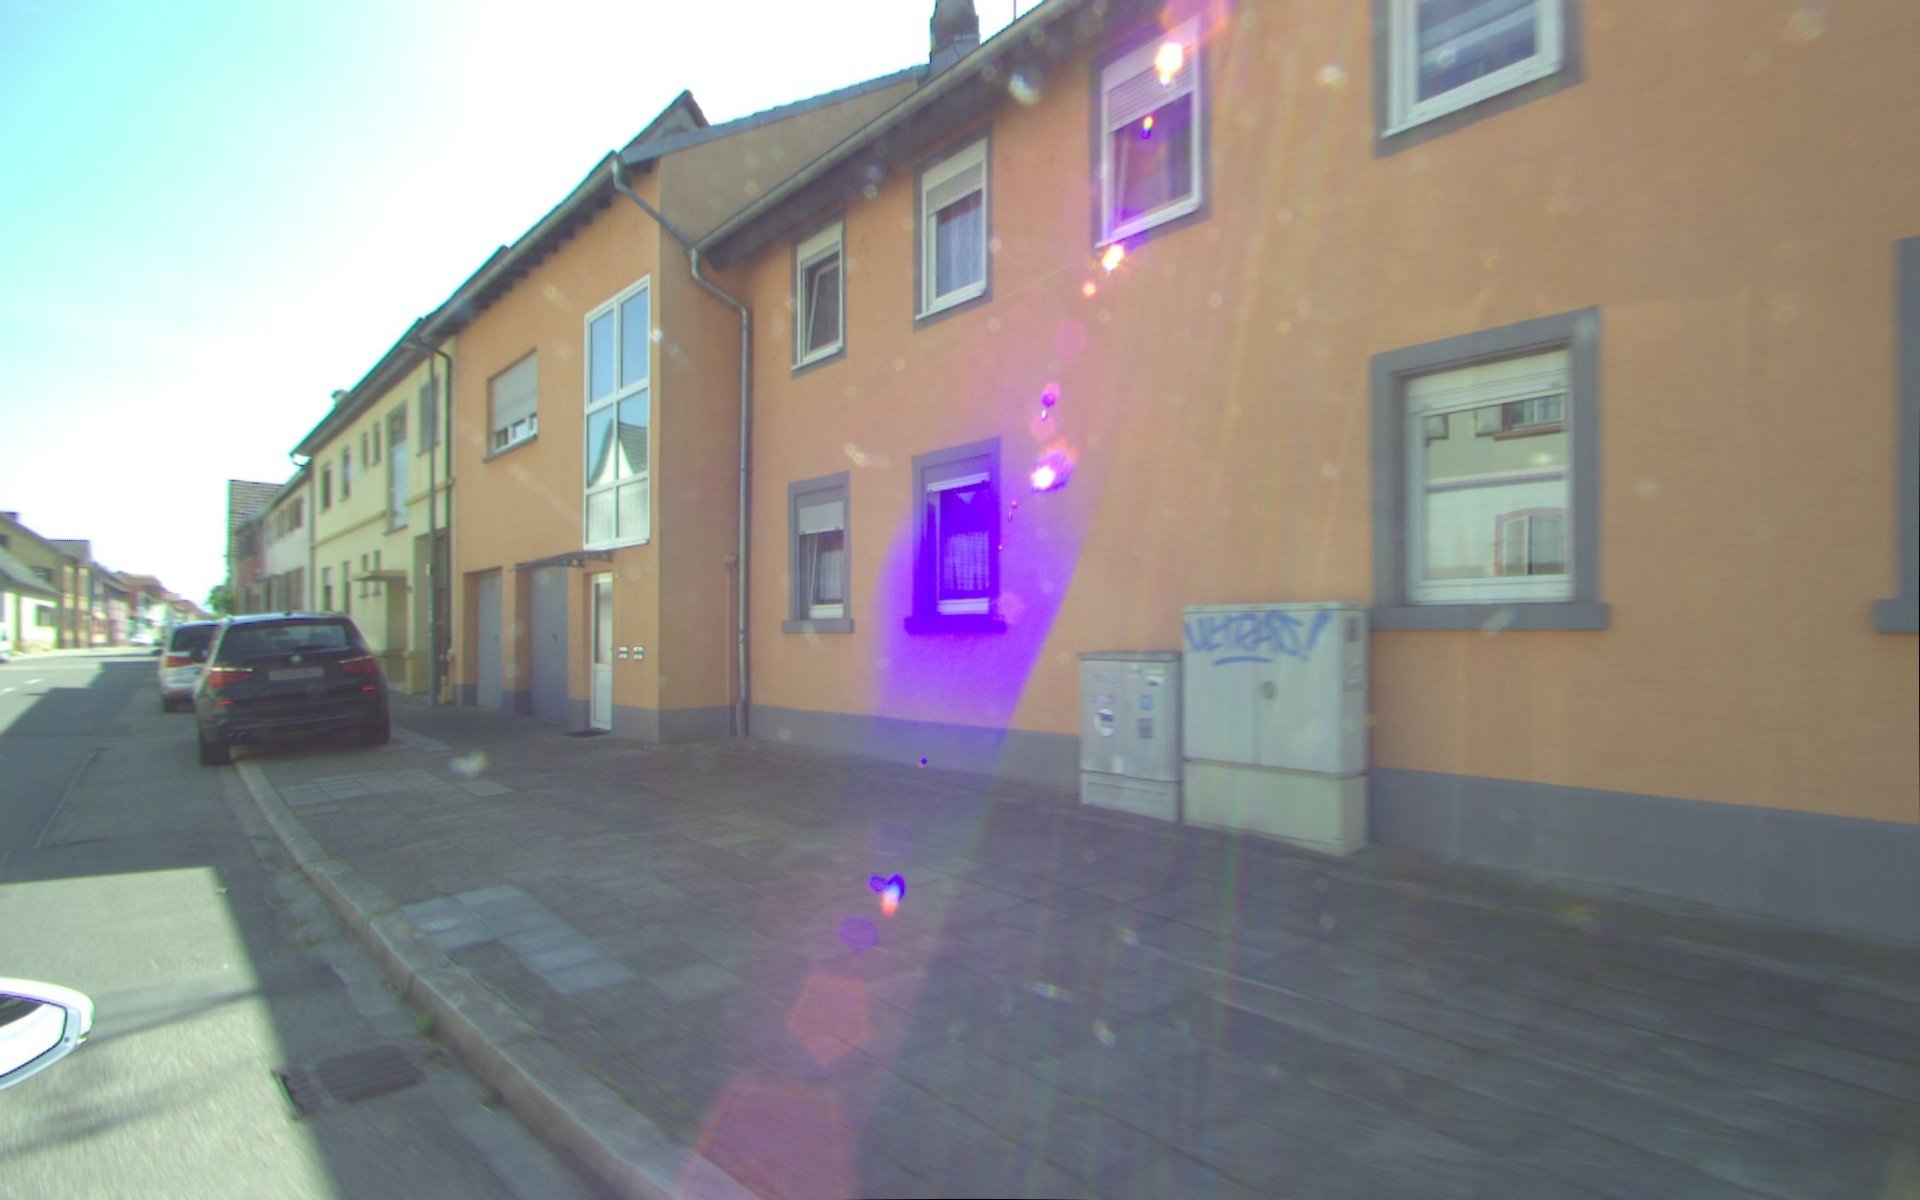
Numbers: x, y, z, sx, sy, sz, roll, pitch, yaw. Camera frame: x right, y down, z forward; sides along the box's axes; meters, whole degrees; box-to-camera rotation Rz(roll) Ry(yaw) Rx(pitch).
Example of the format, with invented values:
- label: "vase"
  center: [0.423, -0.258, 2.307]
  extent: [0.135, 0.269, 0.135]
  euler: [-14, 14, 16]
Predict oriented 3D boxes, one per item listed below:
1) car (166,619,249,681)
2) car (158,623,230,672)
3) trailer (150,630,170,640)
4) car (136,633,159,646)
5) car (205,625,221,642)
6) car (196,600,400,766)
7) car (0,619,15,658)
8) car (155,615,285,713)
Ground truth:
- label: "car"
  center: [-21.312, 1.363, 28.320]
  extent: [1.685, 1.604, 3.994]
  euler: [0, -1, -40]
- label: "car"
  center: [-25.611, 1.547, 33.431]
  extent: [1.685, 1.488, 4.373]
  euler: [0, -1, -40]
- label: "trailer"
  center: [-106.670, 4.643, 133.535]
  extent: [1.977, 1.105, 3.967]
  euler: [1, 1, -38]
- label: "car"
  center: [-96.957, 4.685, 119.465]
  extent: [1.976, 1.460, 3.971]
  euler: [1, -2, -37]
- label: "car"
  center: [-116.392, 5.167, 155.970]
  extent: [2.000, 2.600, 3.970]
  euler: [1, -2, -37]
- label: "car"
  center: [-8.809, 0.925, 13.099]
  extent: [1.828, 1.725, 5.141]
  euler: [-1, 0, -38]
- label: "car"
  center: [-42.572, 1.660, 43.511]
  extent: [1.840, 1.668, 4.394]
  euler: [1, -2, -39]
- label: "car"
  center: [-14.867, 1.214, 20.079]
  extent: [1.883, 1.750, 4.216]
  euler: [2, -2, -38]
